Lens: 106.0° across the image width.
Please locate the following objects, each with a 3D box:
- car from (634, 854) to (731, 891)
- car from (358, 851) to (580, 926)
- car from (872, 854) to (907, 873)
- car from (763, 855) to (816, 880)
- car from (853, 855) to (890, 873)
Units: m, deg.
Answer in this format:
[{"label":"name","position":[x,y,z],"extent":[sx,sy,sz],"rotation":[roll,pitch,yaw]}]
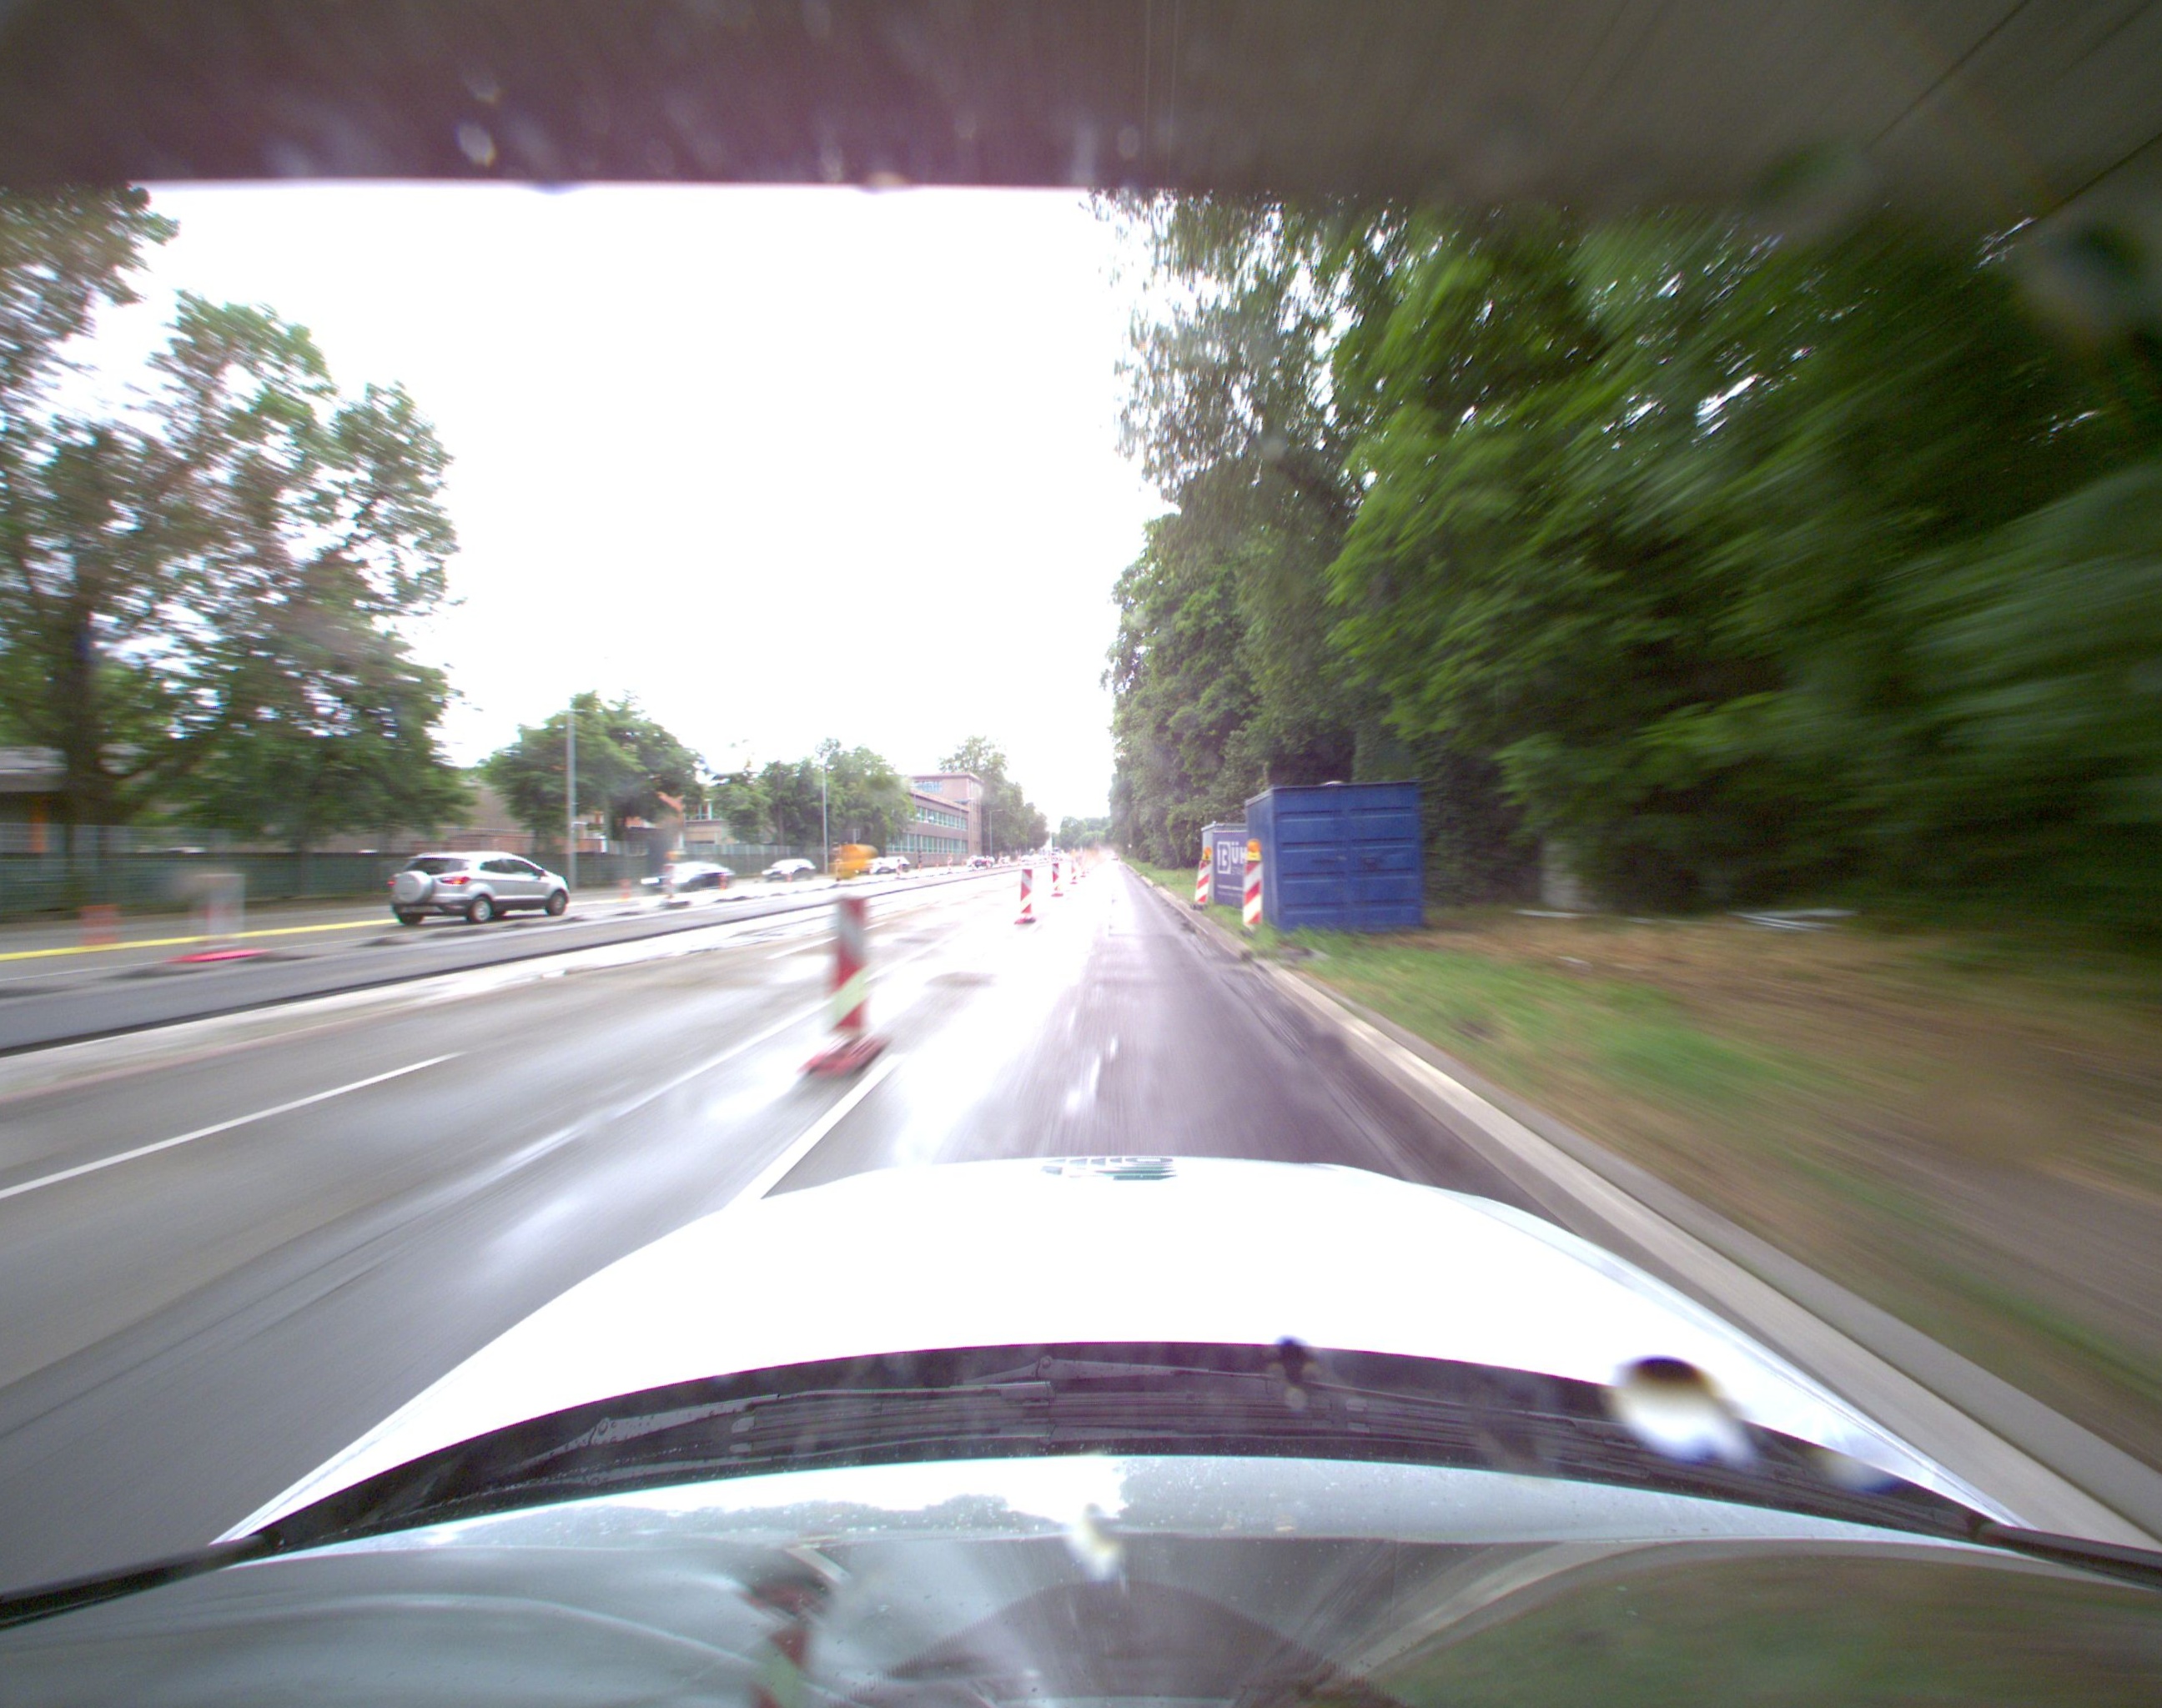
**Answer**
[{"label":"car","position":[-16.822,0.749,34.655],"extent":[1.963,1.442,4.003],"rotation":[-2,0,3]},{"label":"car","position":[-14.214,0.715,19.307],"extent":[1.882,1.564,4.365],"rotation":[0,0,1]},{"label":"car","position":[-15.669,0.783,66.849],"extent":[1.716,1.442,4.003],"rotation":[-2,0,3]},{"label":"car","position":[-18.559,0.816,52.001],"extent":[1.716,1.442,4.003],"rotation":[-2,0,3]},{"label":"car","position":[-18.230,0.816,71.108],"extent":[1.963,1.442,4.003],"rotation":[-2,0,3]}]
